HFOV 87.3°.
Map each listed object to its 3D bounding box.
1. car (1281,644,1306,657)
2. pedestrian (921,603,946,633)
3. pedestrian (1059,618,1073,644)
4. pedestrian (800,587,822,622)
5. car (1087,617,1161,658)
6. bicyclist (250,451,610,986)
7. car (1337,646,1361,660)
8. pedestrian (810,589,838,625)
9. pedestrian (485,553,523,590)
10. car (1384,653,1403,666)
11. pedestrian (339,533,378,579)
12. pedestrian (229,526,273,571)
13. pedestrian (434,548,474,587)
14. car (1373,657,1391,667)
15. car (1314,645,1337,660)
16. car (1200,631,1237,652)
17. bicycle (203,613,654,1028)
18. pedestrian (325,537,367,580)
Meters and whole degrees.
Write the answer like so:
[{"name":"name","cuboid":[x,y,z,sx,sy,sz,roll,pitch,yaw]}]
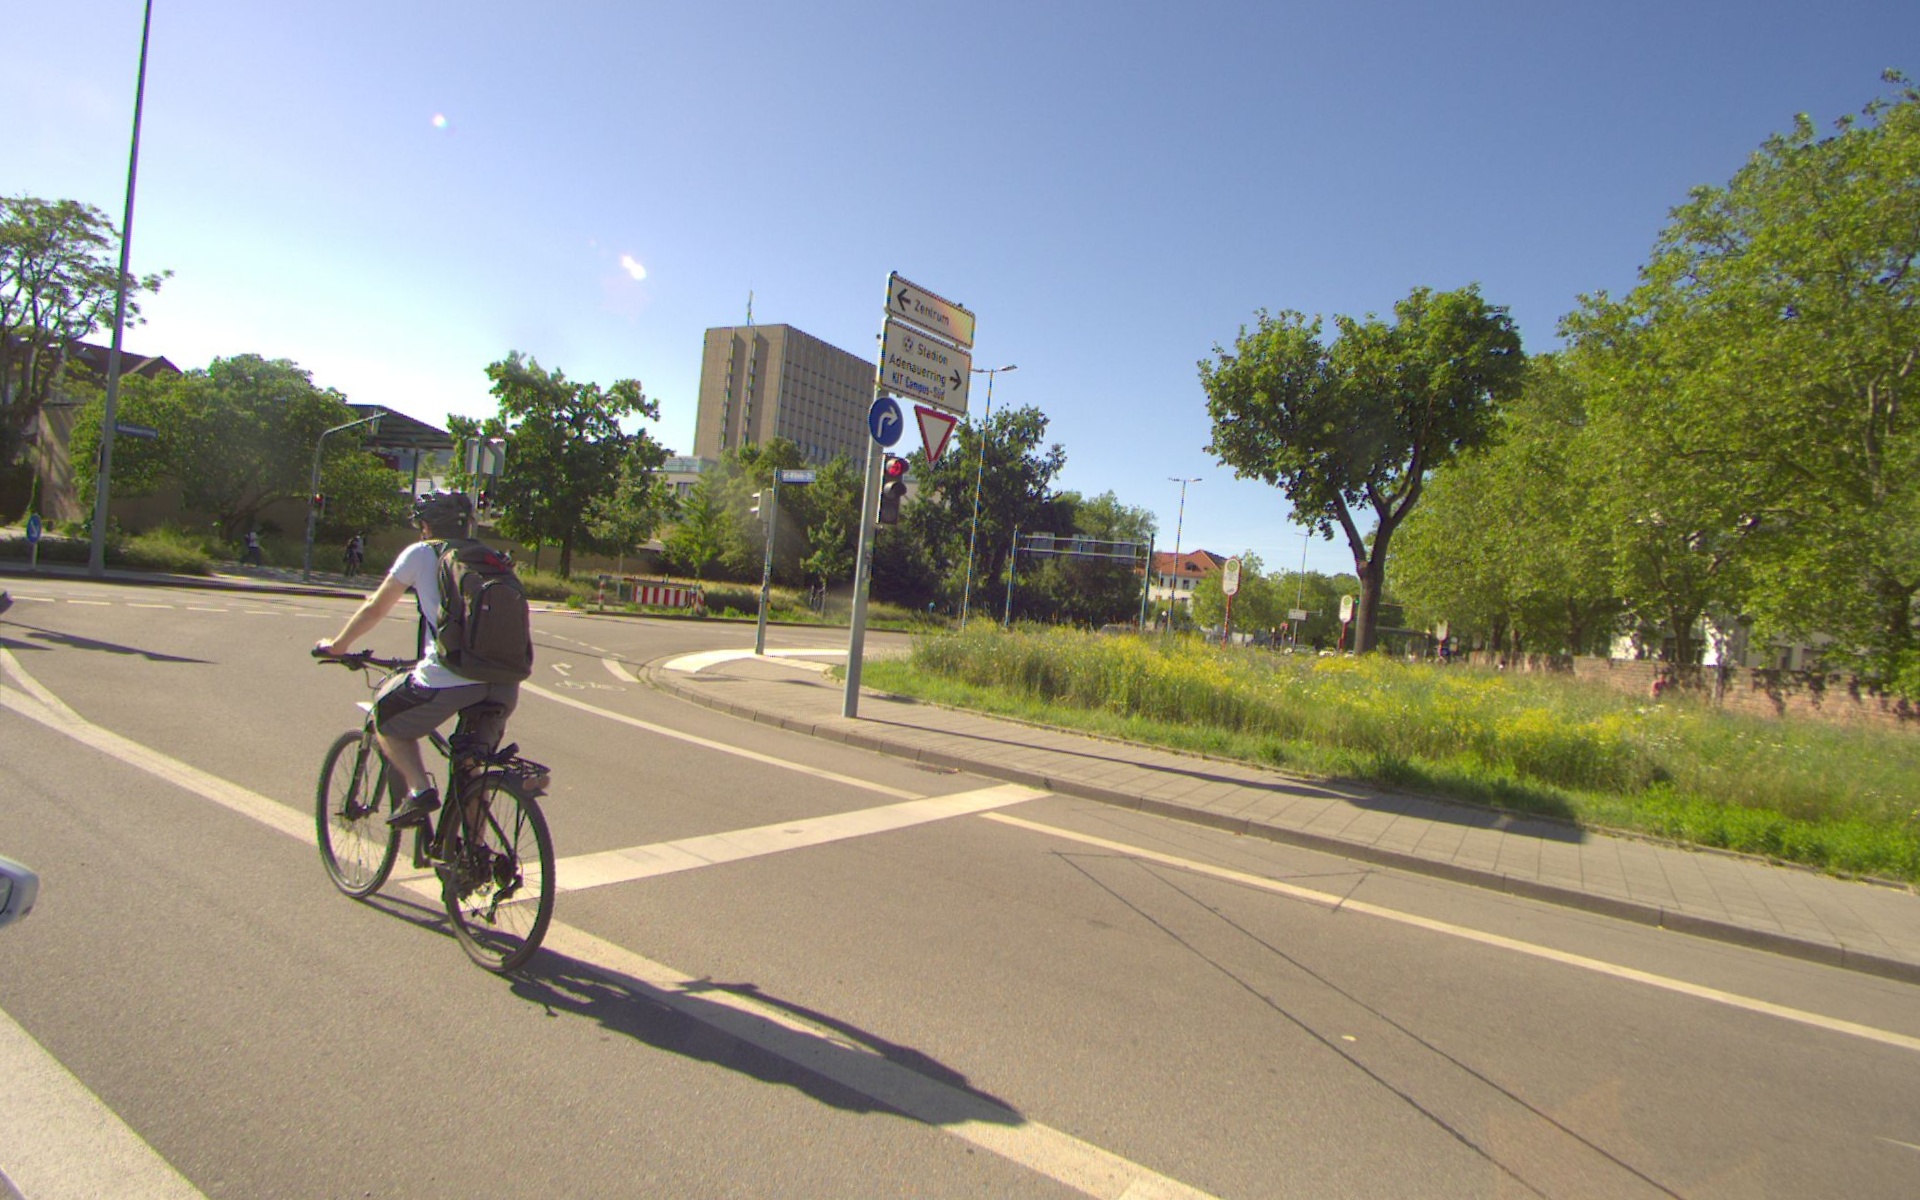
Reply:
[{"name":"car","cuboid":[41.645,6.330,125.619,1.967,1.378,4.001,7,0,31]},{"name":"pedestrian","cuboid":[-1.956,1.334,74.137,1.065,2.106,1.231,7,1,35]},{"name":"pedestrian","cuboid":[9.386,2.761,88.703,0.633,2.194,0.912,7,1,35]},{"name":"pedestrian","cuboid":[-9.494,0.263,64.053,0.800,2.106,0.896,7,1,35]},{"name":"car","cuboid":[7.606,1.760,46.433,1.715,1.535,3.988,7,0,35]},{"name":"bicyclist","cuboid":[-2.059,0.396,3.934,0.924,1.806,0.678,6,-1,30]},{"name":"car","cuboid":[53.616,7.353,138.620,1.968,1.625,4.127,7,0,35]},{"name":"pedestrian","cuboid":[-8.464,0.462,62.736,0.966,2.106,1.186,7,1,35]},{"name":"pedestrian","cuboid":[-21.058,-1.310,46.425,0.975,1.540,1.129,7,1,35]},{"name":"car","cuboid":[77.706,10.681,180.328,1.968,2.062,4.834,7,0,35]},{"name":"pedestrian","cuboid":[-24.930,-1.821,41.694,0.912,1.754,0.962,7,1,37]},{"name":"pedestrian","cuboid":[-27.046,-1.962,38.352,0.917,1.540,1.083,7,1,41]},{"name":"pedestrian","cuboid":[-22.198,-1.426,44.149,0.927,1.540,1.145,7,1,38]},{"name":"car","cuboid":[67.203,9.917,160.336,1.967,1.378,4.000,7,0,31]},{"name":"car","cuboid":[51.184,7.358,140.754,1.968,1.625,4.506,7,0,34]},{"name":"car","cuboid":[24.809,3.988,96.452,1.882,1.625,4.124,7,0,37]},{"name":"bicycle","cuboid":[-2.124,0.736,3.940,1.795,1.152,0.616,7,0,30]},{"name":"pedestrian","cuboid":[-24.518,-1.658,40.193,0.865,1.540,1.074,7,1,36]}]
